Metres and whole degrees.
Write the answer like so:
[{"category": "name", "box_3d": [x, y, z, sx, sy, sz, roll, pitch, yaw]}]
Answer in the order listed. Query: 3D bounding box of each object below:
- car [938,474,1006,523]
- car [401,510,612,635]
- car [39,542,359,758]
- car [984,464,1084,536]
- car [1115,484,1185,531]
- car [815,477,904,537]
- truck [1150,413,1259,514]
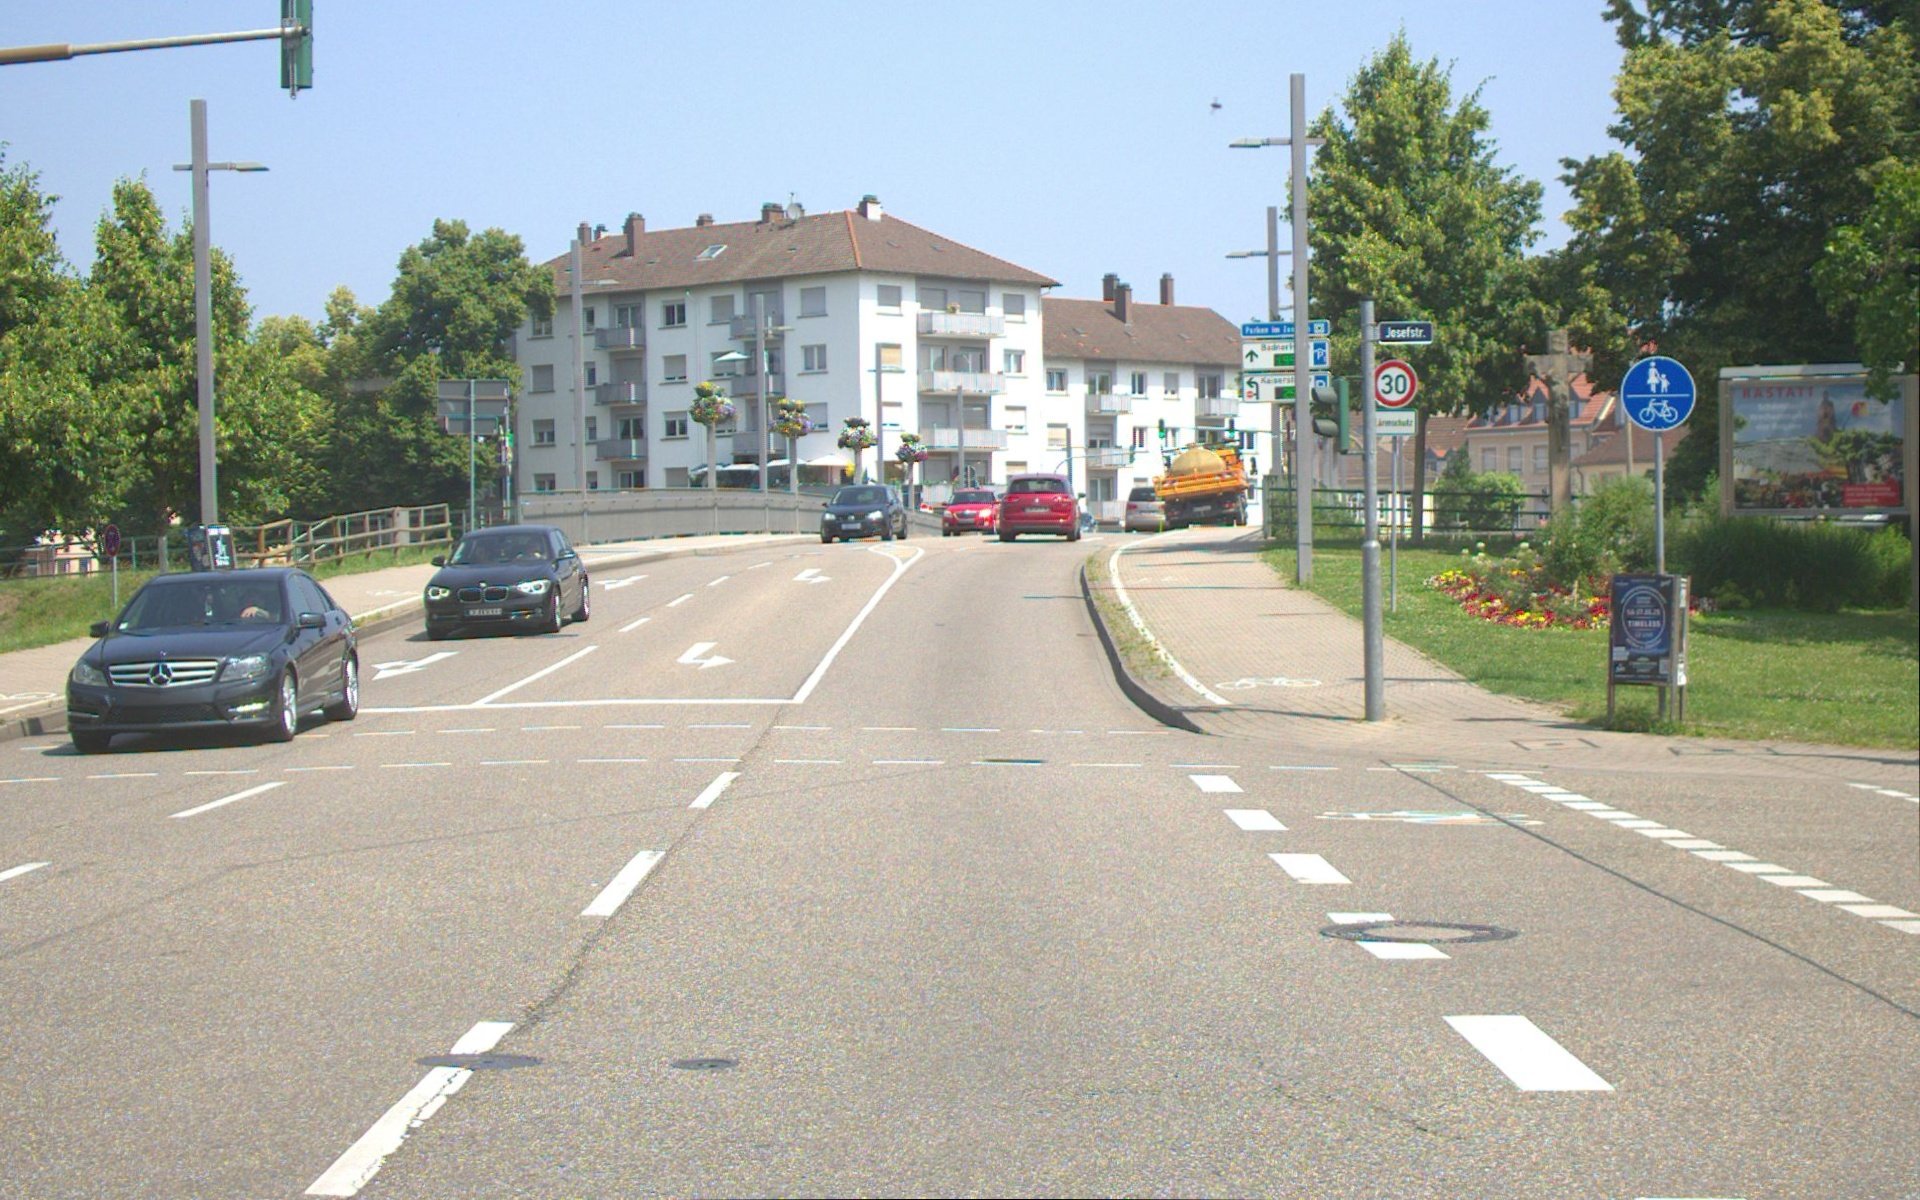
[{"category": "car", "box_3d": [0.401, -3.165, 107.917, 1.647, 1.459, 3.860, 0, 1, 7]}, {"category": "car", "box_3d": [-6.118, -0.415, 46.836, 1.837, 1.394, 4.049, -5, 2, 6]}, {"category": "car", "box_3d": [-6.345, 0.356, 29.119, 1.755, 1.555, 4.318, -1, 2, -1]}, {"category": "car", "box_3d": [1.778, -2.368, 81.587, 1.990, 1.607, 4.342, -1, 1, 6]}, {"category": "car", "box_3d": [6.396, -3.102, 115.401, 2.038, 1.498, 4.416, 0, 1, 7]}, {"category": "car", "box_3d": [-2.557, -2.382, 88.520, 1.714, 1.480, 4.030, 0, 1, 7]}, {"category": "truck", "box_3d": [6.924, -3.807, 96.718, 2.606, 2.682, 5.821, -1, 1, 8]}]
